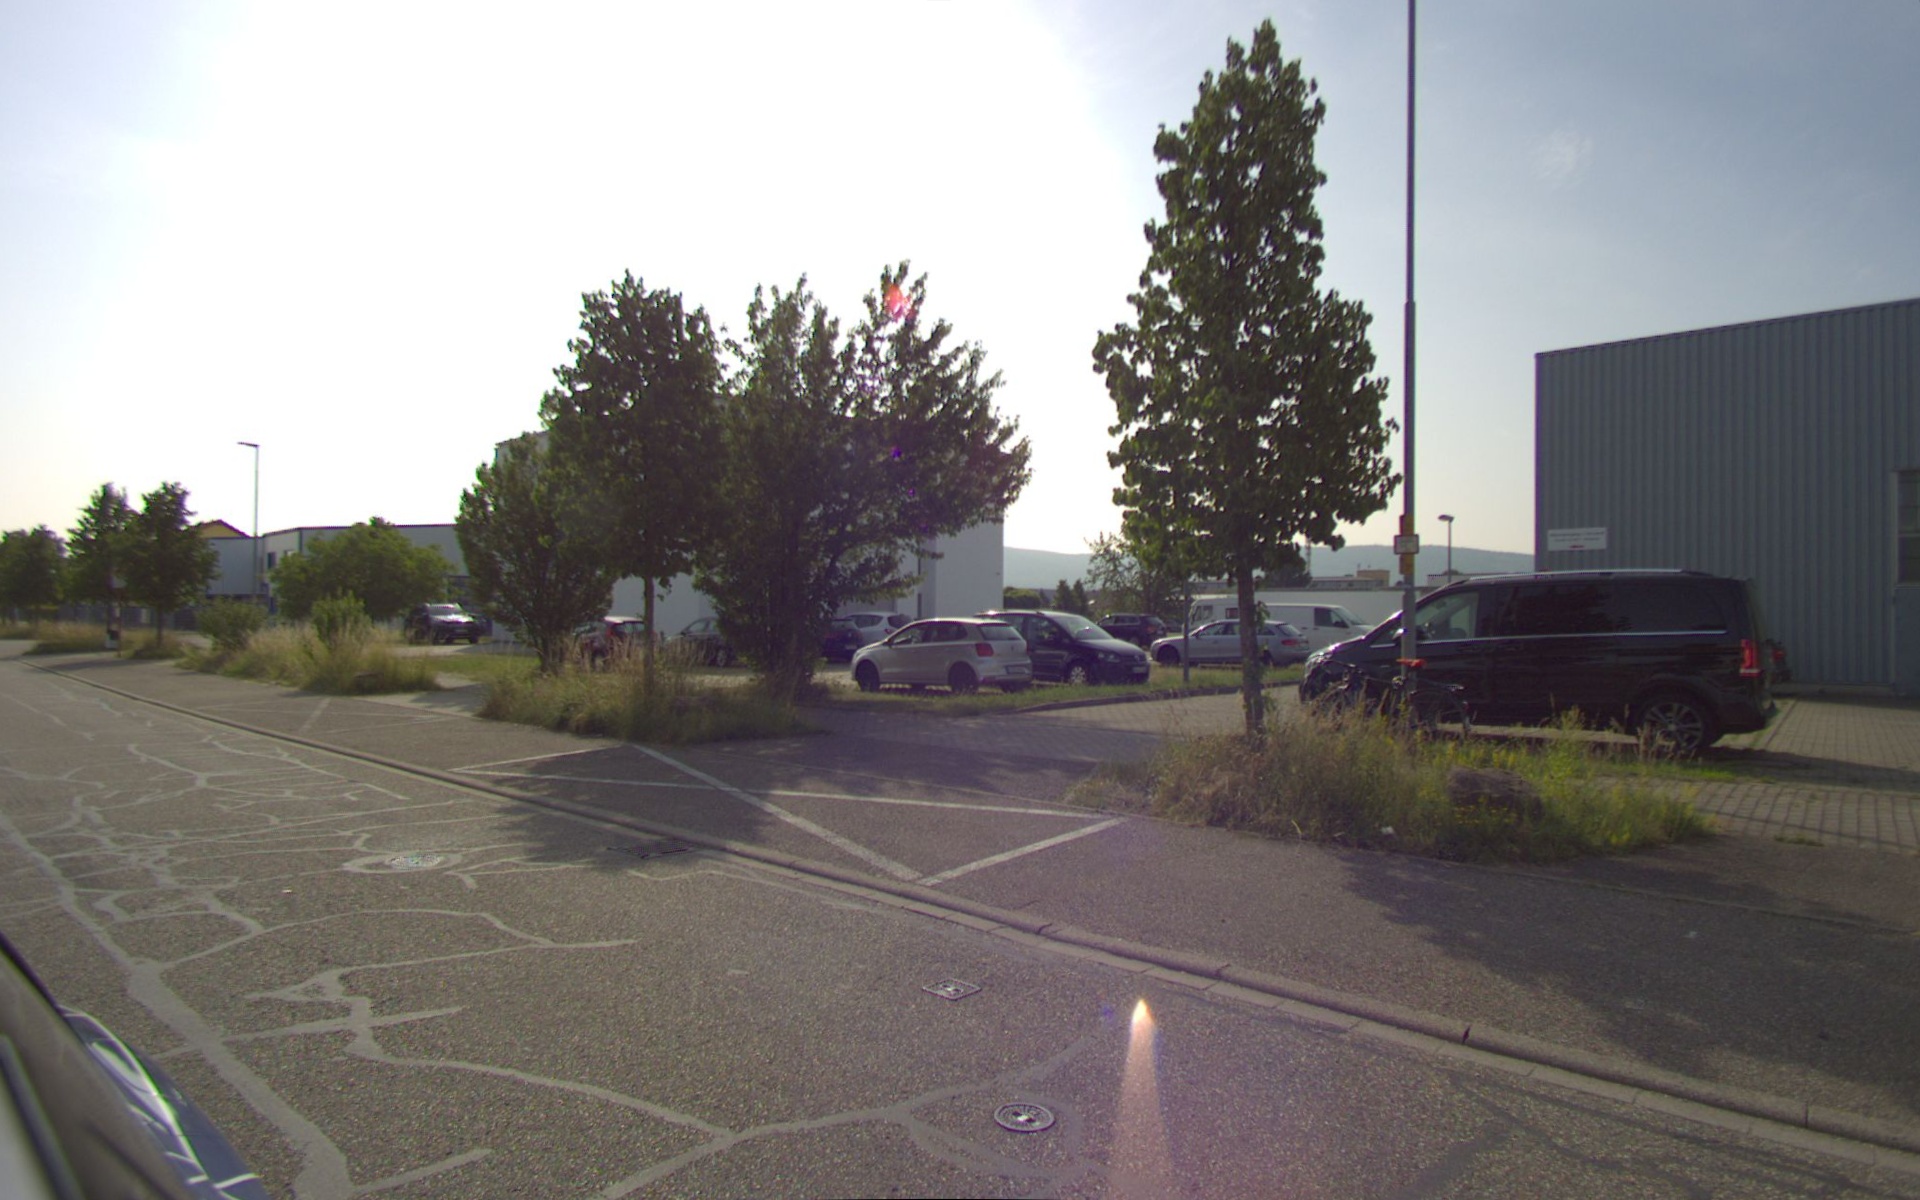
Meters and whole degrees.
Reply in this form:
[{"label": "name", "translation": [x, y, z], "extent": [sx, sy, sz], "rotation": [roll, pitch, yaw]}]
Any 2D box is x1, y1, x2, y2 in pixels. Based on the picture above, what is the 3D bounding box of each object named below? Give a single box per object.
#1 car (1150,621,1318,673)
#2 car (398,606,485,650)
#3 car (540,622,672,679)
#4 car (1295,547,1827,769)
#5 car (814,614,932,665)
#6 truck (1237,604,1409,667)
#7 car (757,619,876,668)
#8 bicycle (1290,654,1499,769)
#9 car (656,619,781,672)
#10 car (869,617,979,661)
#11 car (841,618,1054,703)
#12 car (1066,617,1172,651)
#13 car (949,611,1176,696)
[{"label": "car", "translation": [7.848, 1.312, 29.190], "extent": [4.377, 1.383, 1.715], "rotation": [-1, -1, 39]}, {"label": "car", "translation": [-22.952, 1.213, 44.697], "extent": [4.696, 1.852, 1.971], "rotation": [-1, -2, 44]}, {"label": "car", "translation": [-9.627, 1.313, 27.400], "extent": [3.918, 1.420, 1.735], "rotation": [-1, -2, 43]}, {"label": "car", "translation": [6.637, 0.594, 11.616], "extent": [4.989, 2.029, 1.862], "rotation": [-1, -3, 42]}, {"label": "car", "translation": [-2.987, 1.317, 34.457], "extent": [3.918, 1.631, 1.885], "rotation": [-1, -2, 43]}, {"label": "truck", "translation": [11.829, 1.127, 33.178], "extent": [4.947, 1.918, 1.974], "rotation": [-1, -1, 39]}, {"label": "car", "translation": [-4.679, 1.358, 32.760], "extent": [3.918, 1.479, 1.735], "rotation": [-1, -2, 43]}, {"label": "bicycle", "translation": [4.309, 1.071, 10.159], "extent": [0.534, 0.986, 1.872], "rotation": [1, -2, -44]}, {"label": "car", "translation": [-7.220, 1.294, 30.057], "extent": [3.918, 1.479, 1.735], "rotation": [-1, -2, 43]}, {"label": "car", "translation": [-1.337, 1.367, 36.385], "extent": [3.918, 1.479, 1.735], "rotation": [-1, -2, 43]}, {"label": "car", "translation": [-0.293, 1.082, 19.473], "extent": [3.915, 1.460, 1.767], "rotation": [-1, -1, 40]}, {"label": "car", "translation": [7.186, 1.507, 46.030], "extent": [4.563, 1.479, 1.735], "rotation": [-1, -2, 43]}, {"label": "car", "translation": [2.078, 1.050, 21.341], "extent": [4.507, 1.619, 1.922], "rotation": [-1, -2, 41]}]
